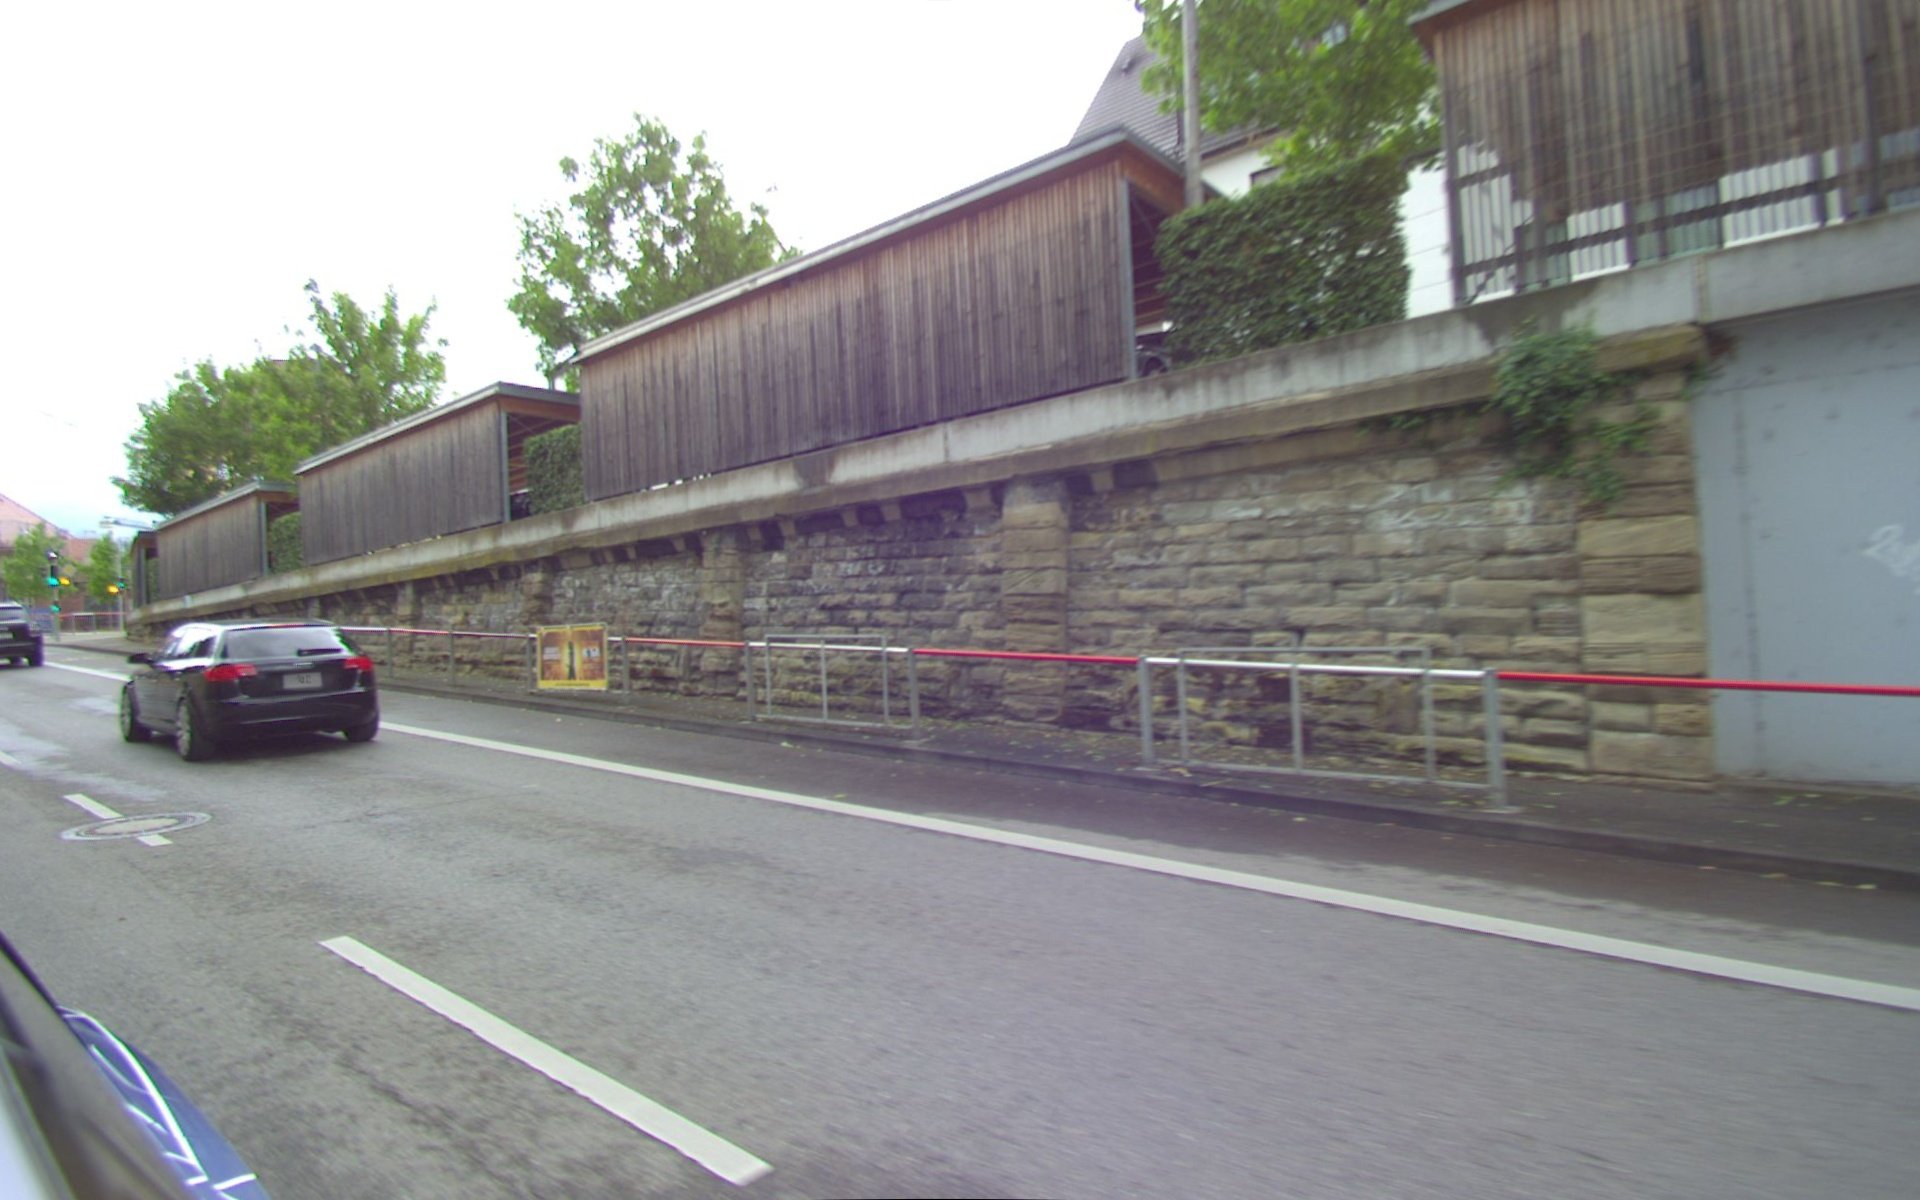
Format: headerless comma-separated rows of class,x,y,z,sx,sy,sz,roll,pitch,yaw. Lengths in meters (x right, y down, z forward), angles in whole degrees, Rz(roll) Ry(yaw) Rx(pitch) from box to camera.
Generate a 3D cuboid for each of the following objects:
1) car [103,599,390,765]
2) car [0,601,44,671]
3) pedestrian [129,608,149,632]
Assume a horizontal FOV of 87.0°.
car,-8.189,0.792,11.486,3.997,1.544,1.717,-1,0,40
car,-26.245,0.955,27.141,4.433,1.770,1.875,-1,0,40
pedestrian,-60.597,1.439,74.681,0.785,1.733,0.928,-1,0,-12
